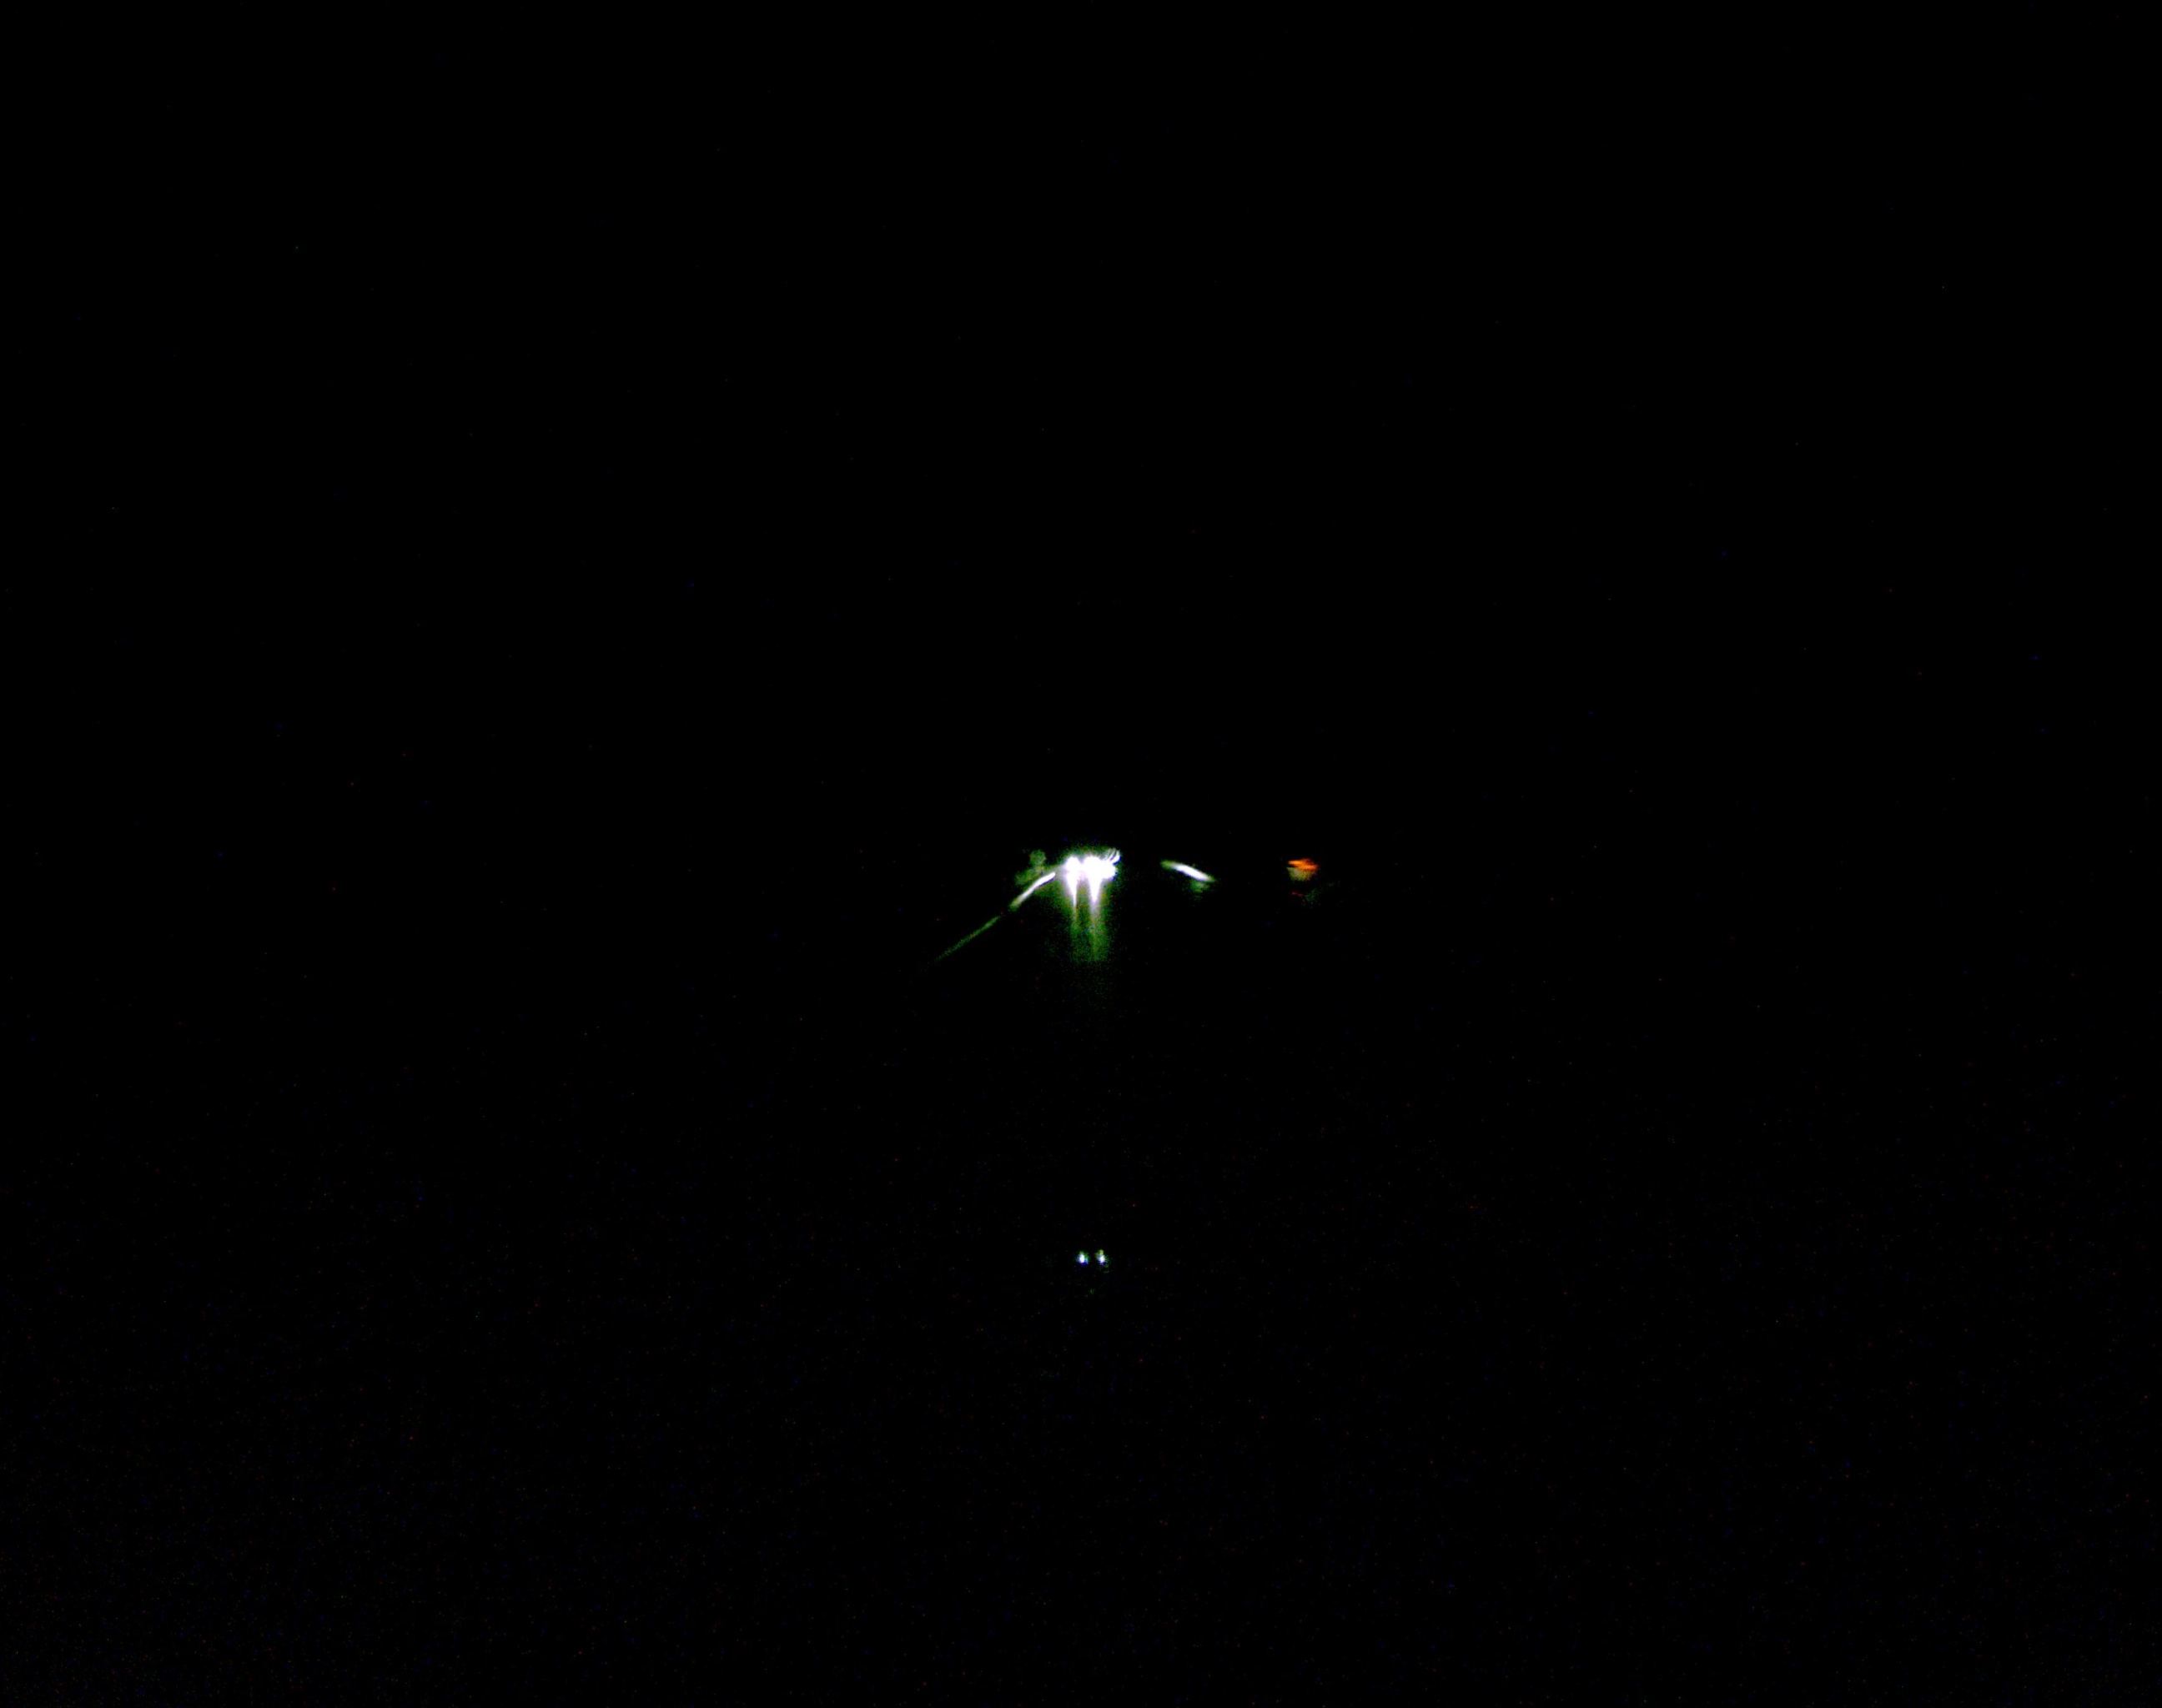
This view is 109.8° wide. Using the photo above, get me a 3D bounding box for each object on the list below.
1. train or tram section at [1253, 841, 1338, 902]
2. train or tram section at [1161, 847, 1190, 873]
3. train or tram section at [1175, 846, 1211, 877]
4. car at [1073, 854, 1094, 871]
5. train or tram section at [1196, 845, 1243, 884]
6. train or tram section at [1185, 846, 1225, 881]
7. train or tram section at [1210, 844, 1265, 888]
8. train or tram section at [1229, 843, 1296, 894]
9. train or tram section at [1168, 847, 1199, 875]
[{"bbox_3d":[13.235,0.991,47.655,2.851,3.440,8.552,-2,0,0],"label":"train or tram section"},{"bbox_3d":[13.311,0.808,107.659,2.851,3.440,8.552,-2,0,0],"label":"train or tram section"},{"bbox_3d":[13.258,0.843,90.518,2.851,3.440,8.552,-2,0,0],"label":"train or tram section"},{"bbox_3d":[0.288,0.824,68.365,1.776,1.444,4.138,0,-2,2],"label":"car"},{"bbox_3d":[13.246,0.952,73.426,2.851,3.440,8.552,-2,0,0],"label":"train or tram section"},{"bbox_3d":[13.281,0.954,81.970,2.851,3.440,8.552,-2,0,0],"label":"train or tram section"},{"bbox_3d":[13.232,0.944,64.832,2.851,3.440,8.552,-2,0,0],"label":"train or tram section"},{"bbox_3d":[13.231,0.964,56.216,2.851,3.440,8.552,-2,0,0],"label":"train or tram section"},{"bbox_3d":[13.310,0.844,99.089,2.851,3.440,8.552,-2,0,0],"label":"train or tram section"}]
